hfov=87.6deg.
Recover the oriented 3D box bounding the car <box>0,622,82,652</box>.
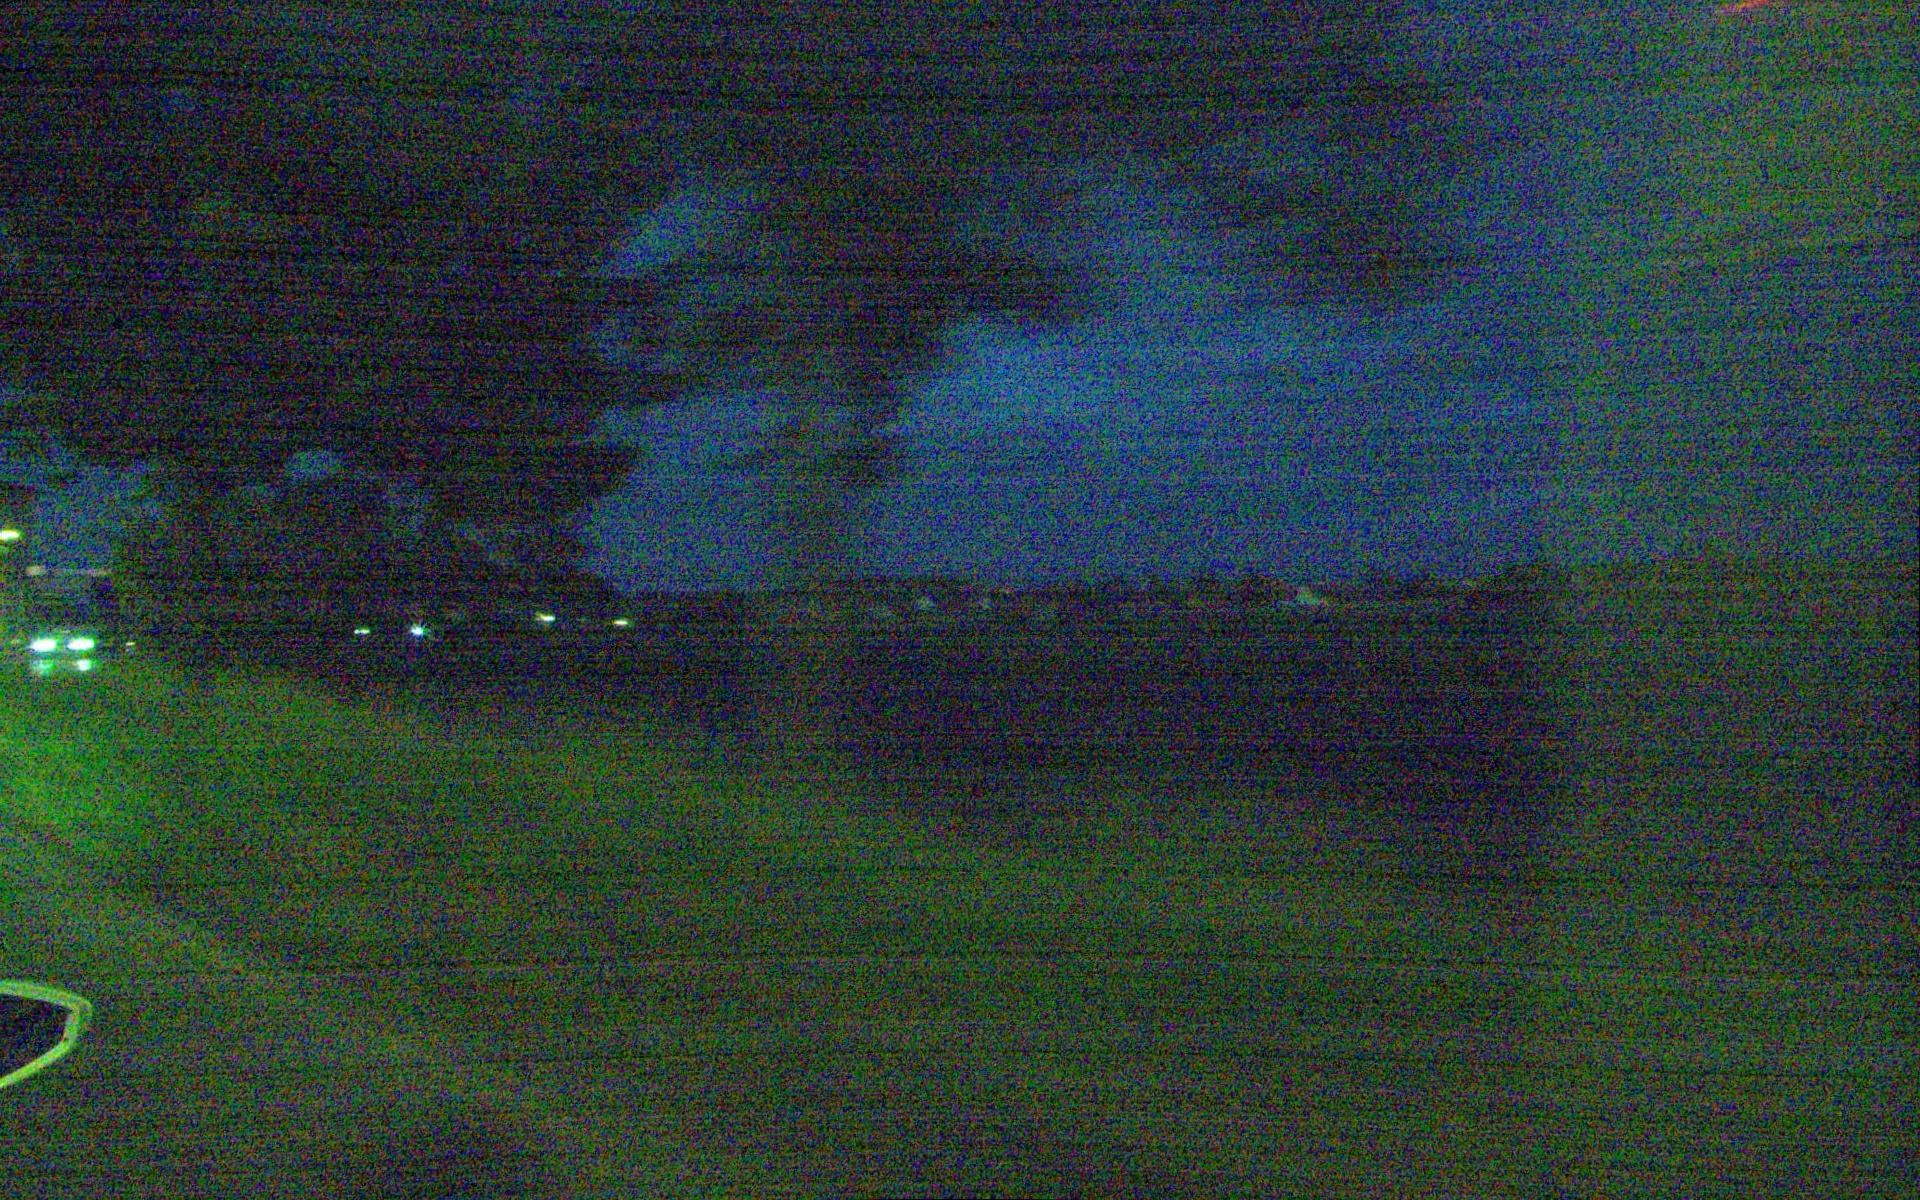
[{"bbox_3d":[-51.713,2.047,56.413,1.730,1.628,4.444,1,-1,-18],"label":"car"}]

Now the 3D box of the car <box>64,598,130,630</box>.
[{"bbox_3d":[-59.546,0.967,69.164,1.965,2.040,3.992,3,0,-17],"label":"car"}]

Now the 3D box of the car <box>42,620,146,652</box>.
[{"bbox_3d":[-40.639,1.657,47.149,1.733,1.421,4.583,1,-1,-13],"label":"car"}]
